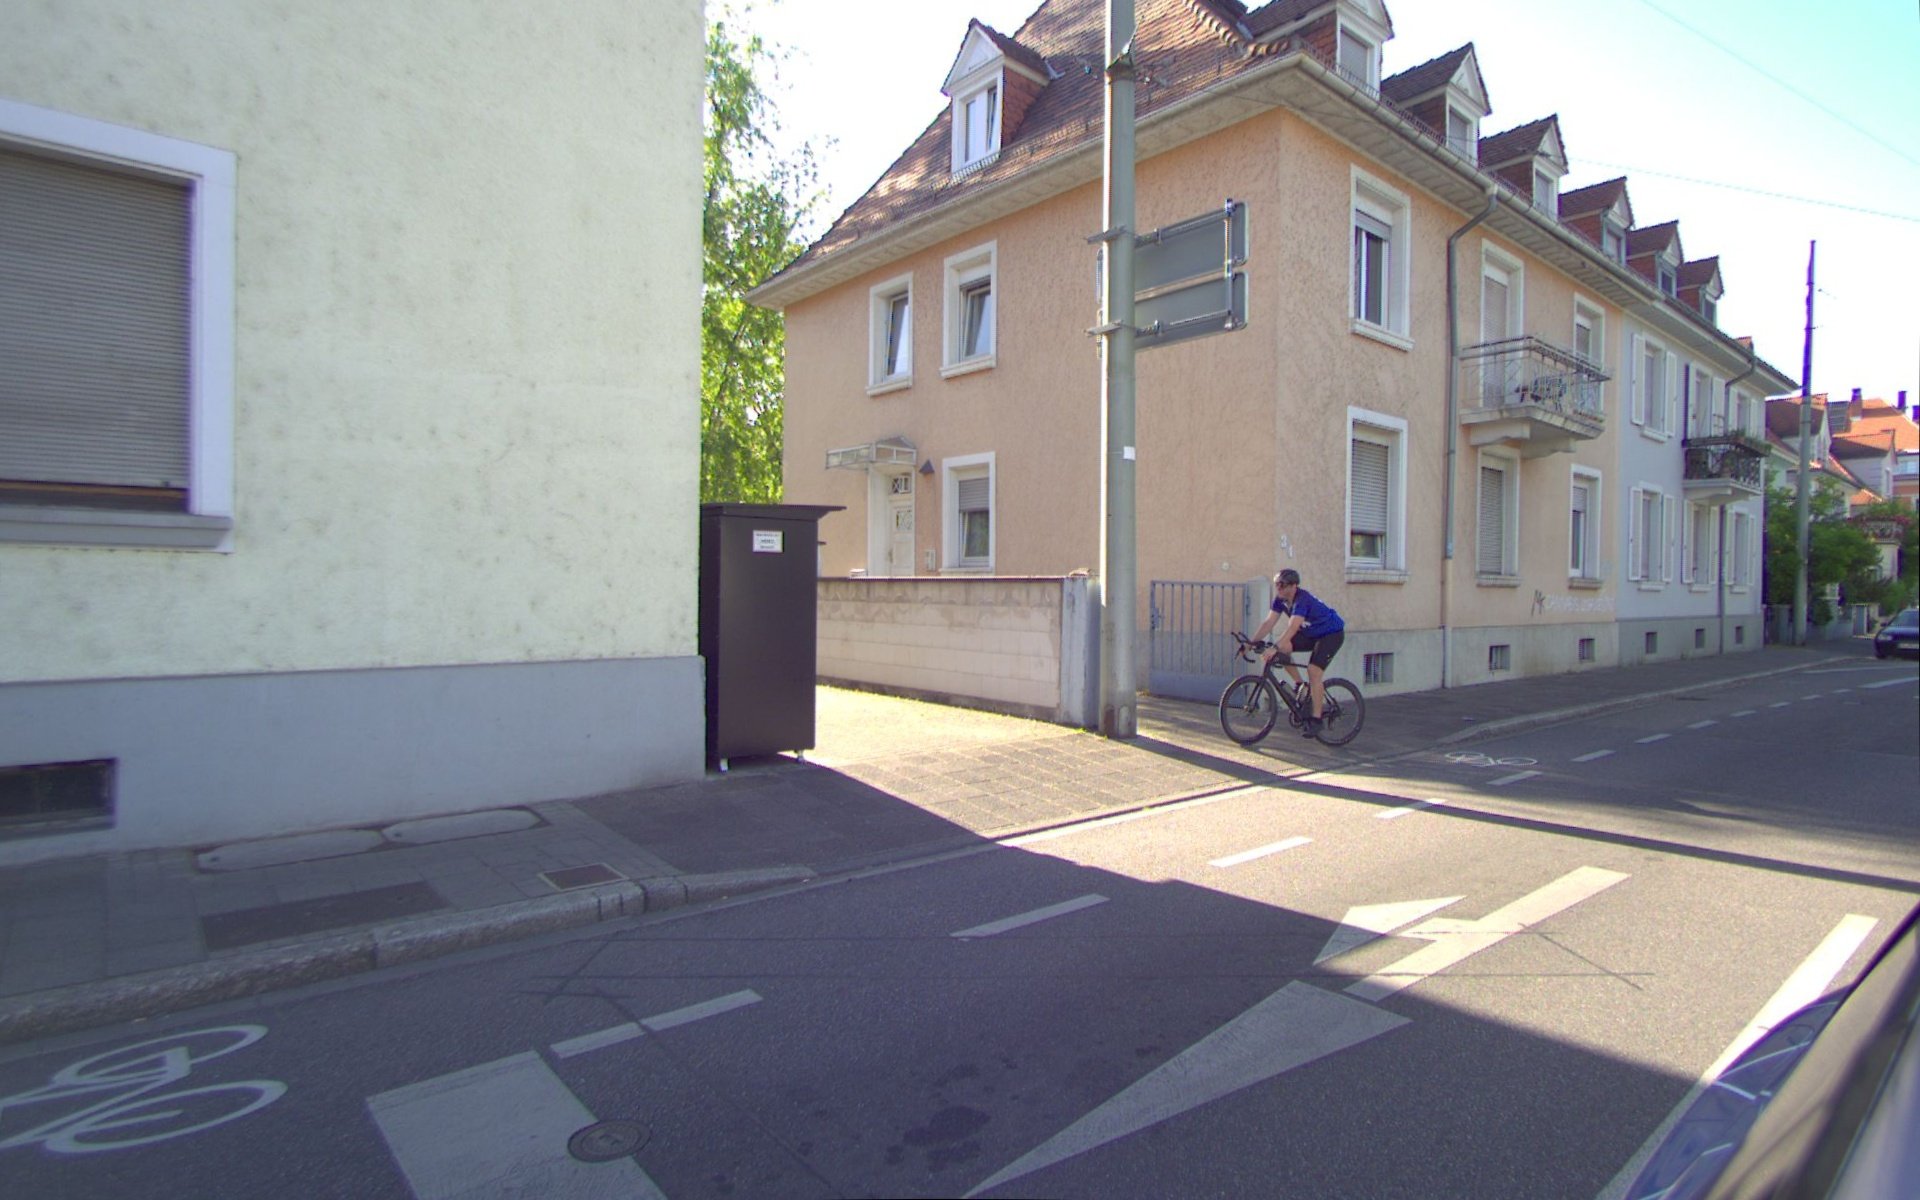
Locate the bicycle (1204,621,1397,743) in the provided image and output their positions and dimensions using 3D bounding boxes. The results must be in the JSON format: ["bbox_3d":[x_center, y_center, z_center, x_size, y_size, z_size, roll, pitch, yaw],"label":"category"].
[{"bbox_3d":[3.341,0.804,9.938,1.757,1.075,0.553,3,4,-20],"label":"bicycle"}]

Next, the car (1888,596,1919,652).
[{"bbox_3d":[26.713,0.623,27.399,4.347,1.425,1.866,0,1,-41],"label":"car"}]

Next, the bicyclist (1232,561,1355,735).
[{"bbox_3d":[3.266,0.445,9.927,0.995,1.637,0.564,0,0,-20],"label":"bicyclist"}]
